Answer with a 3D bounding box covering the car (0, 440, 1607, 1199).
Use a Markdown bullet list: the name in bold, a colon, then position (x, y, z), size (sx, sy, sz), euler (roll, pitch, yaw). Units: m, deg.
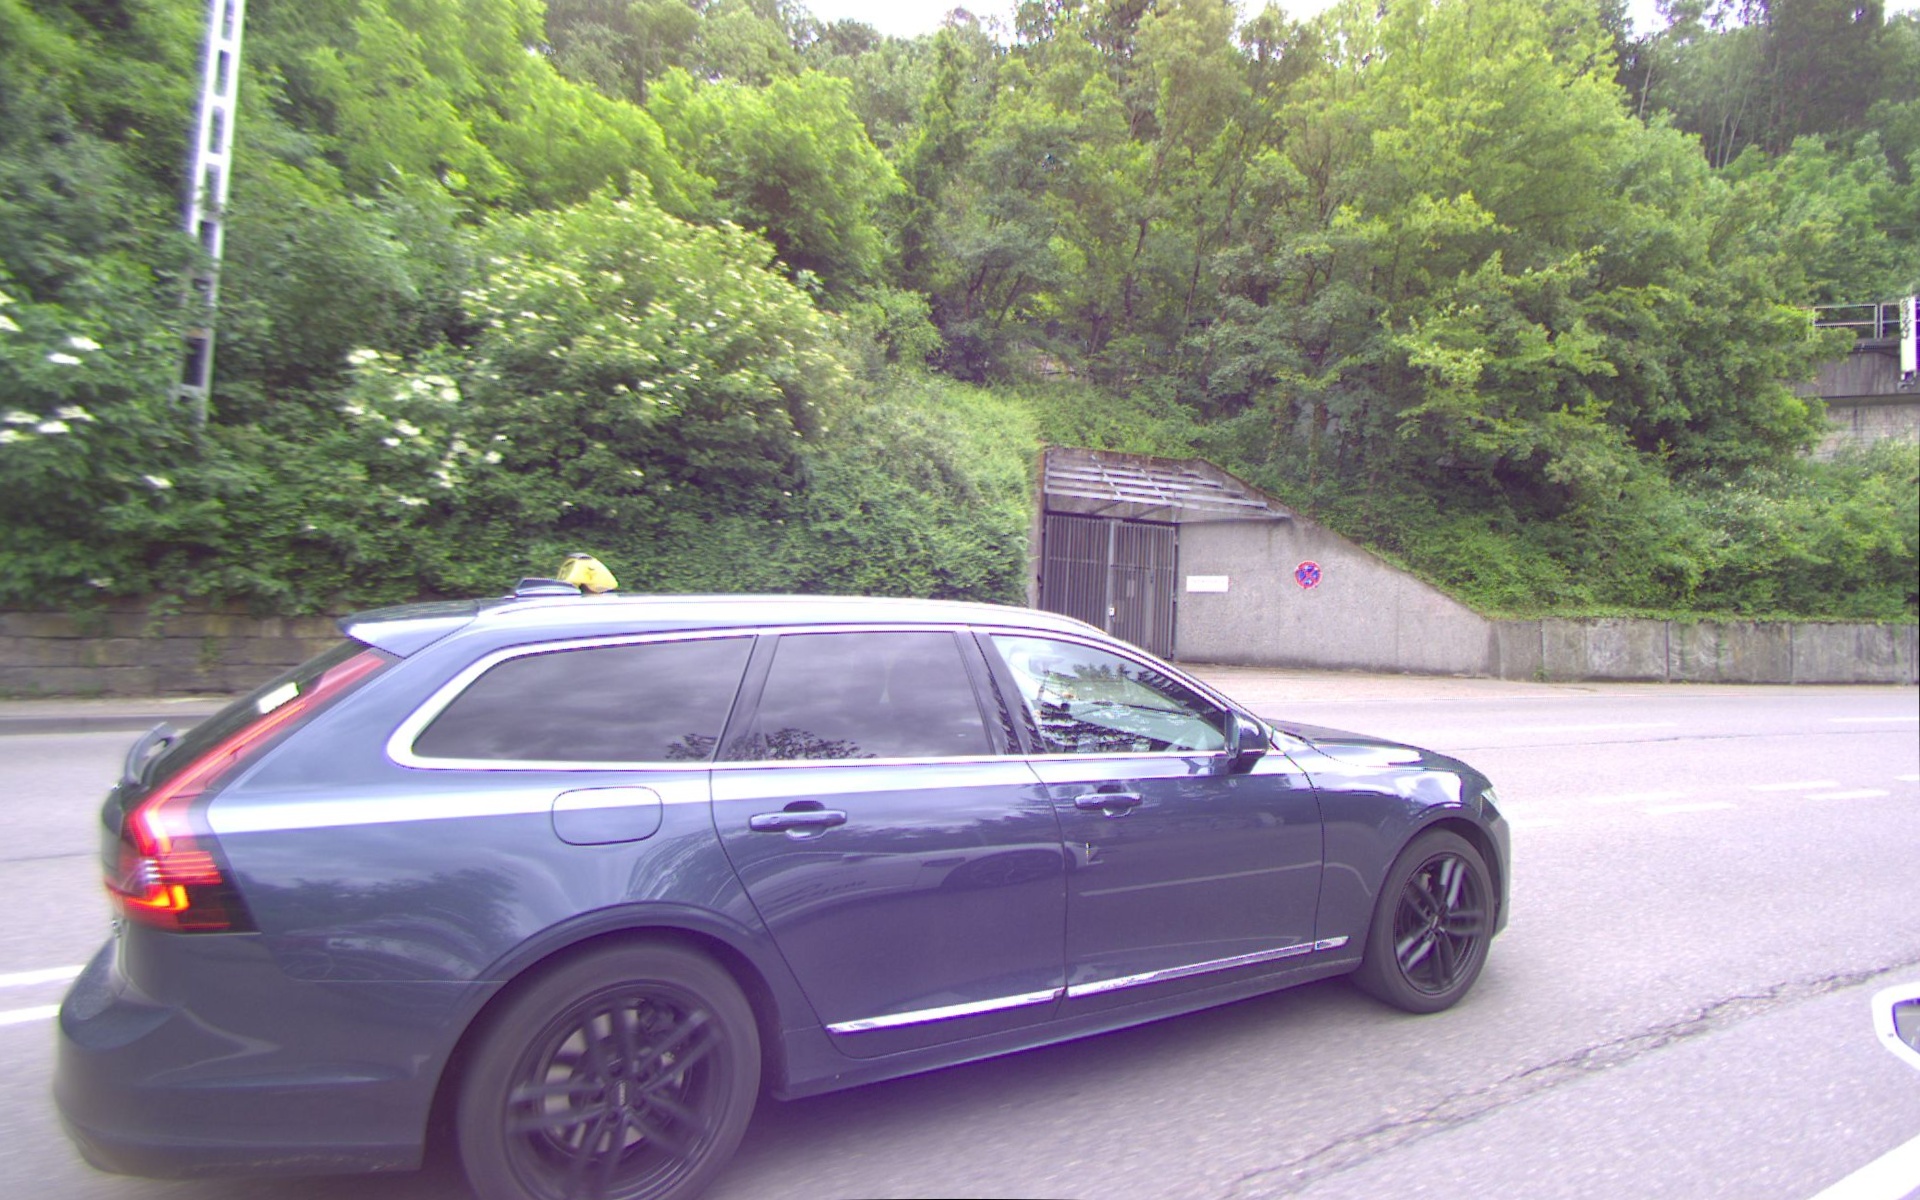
- **car**: position (-0.003, 0.688, 3.696), size (4.971, 1.597, 1.925), euler (5, 0, -31)
